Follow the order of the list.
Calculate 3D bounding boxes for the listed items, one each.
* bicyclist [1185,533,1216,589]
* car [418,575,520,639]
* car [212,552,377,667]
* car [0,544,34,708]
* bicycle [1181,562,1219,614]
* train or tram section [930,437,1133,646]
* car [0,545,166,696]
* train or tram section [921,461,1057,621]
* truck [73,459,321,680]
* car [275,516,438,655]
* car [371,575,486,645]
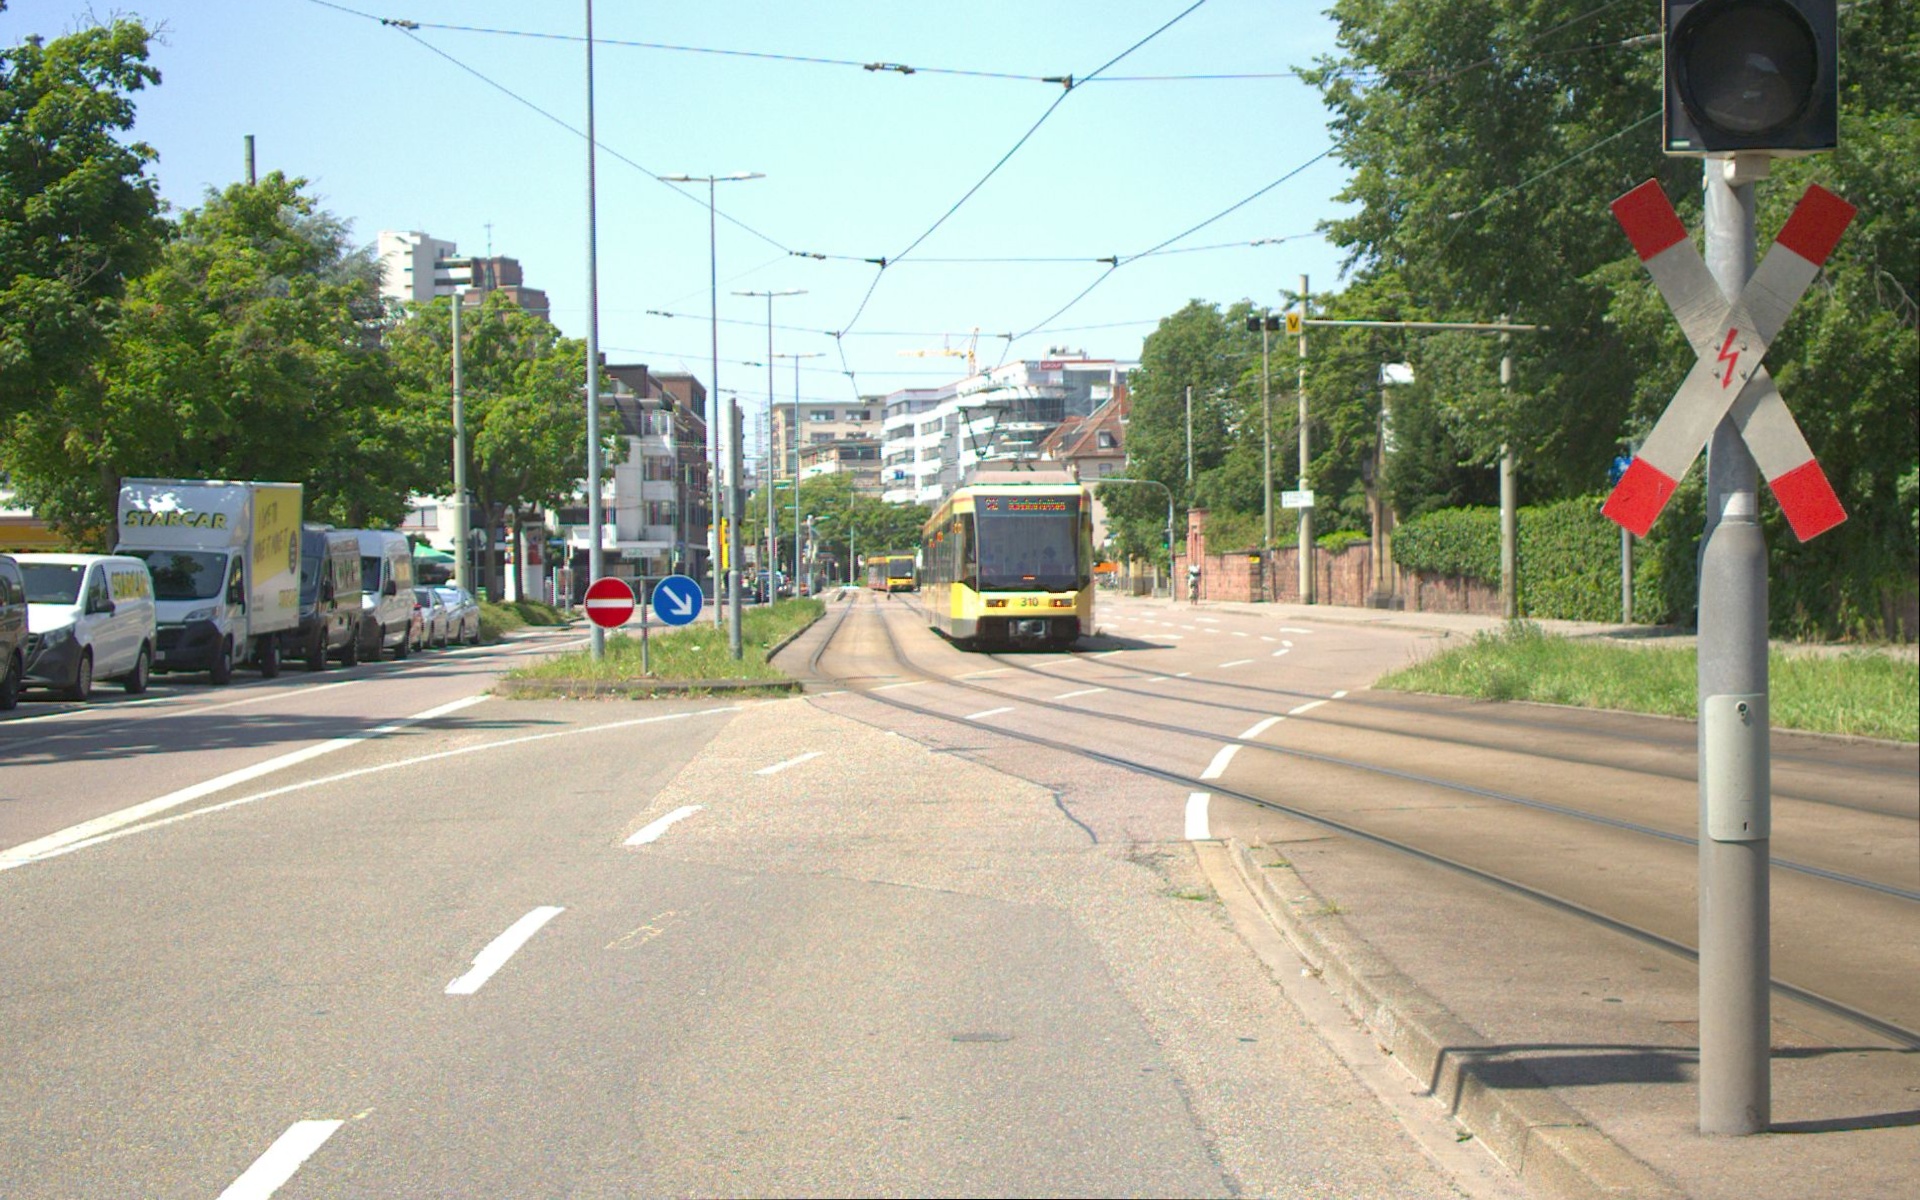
[{"bbox_3d":[8.968,-1.448,128.250,1.096,2.101,1.031,0,0,-1],"label":"bicyclist"},{"bbox_3d":[-12.936,0.167,90.828,2.061,1.576,4.871,-1,1,-1],"label":"car"},{"bbox_3d":[-11.955,0.134,62.046,2.061,1.970,4.871,-1,1,-1],"label":"car"},{"bbox_3d":[-12.039,0.324,39.146,1.868,1.888,4.271,-1,1,-1],"label":"car"},{"bbox_3d":[8.954,-0.472,128.312,1.092,1.901,3.682,-1,1,0],"label":"bicycle"},{"bbox_3d":[1.183,-1.169,69.862,2.943,3.679,18.391,0,1,-2],"label":"train or tram section"},{"bbox_3d":[-12.161,0.237,45.809,2.061,1.891,4.871,-1,1,-1],"label":"car"},{"bbox_3d":[0.553,-1.516,89.144,2.943,3.679,20.285,0,1,-1],"label":"train or tram section"},{"bbox_3d":[-11.982,-0.508,54.567,2.157,3.199,7.082,2,1,1],"label":"truck"},{"bbox_3d":[-12.244,-0.323,70.088,2.157,2.630,5.611,2,1,1],"label":"car"},{"bbox_3d":[-12.818,0.208,83.200,2.061,1.576,4.871,-1,1,-1],"label":"car"}]
